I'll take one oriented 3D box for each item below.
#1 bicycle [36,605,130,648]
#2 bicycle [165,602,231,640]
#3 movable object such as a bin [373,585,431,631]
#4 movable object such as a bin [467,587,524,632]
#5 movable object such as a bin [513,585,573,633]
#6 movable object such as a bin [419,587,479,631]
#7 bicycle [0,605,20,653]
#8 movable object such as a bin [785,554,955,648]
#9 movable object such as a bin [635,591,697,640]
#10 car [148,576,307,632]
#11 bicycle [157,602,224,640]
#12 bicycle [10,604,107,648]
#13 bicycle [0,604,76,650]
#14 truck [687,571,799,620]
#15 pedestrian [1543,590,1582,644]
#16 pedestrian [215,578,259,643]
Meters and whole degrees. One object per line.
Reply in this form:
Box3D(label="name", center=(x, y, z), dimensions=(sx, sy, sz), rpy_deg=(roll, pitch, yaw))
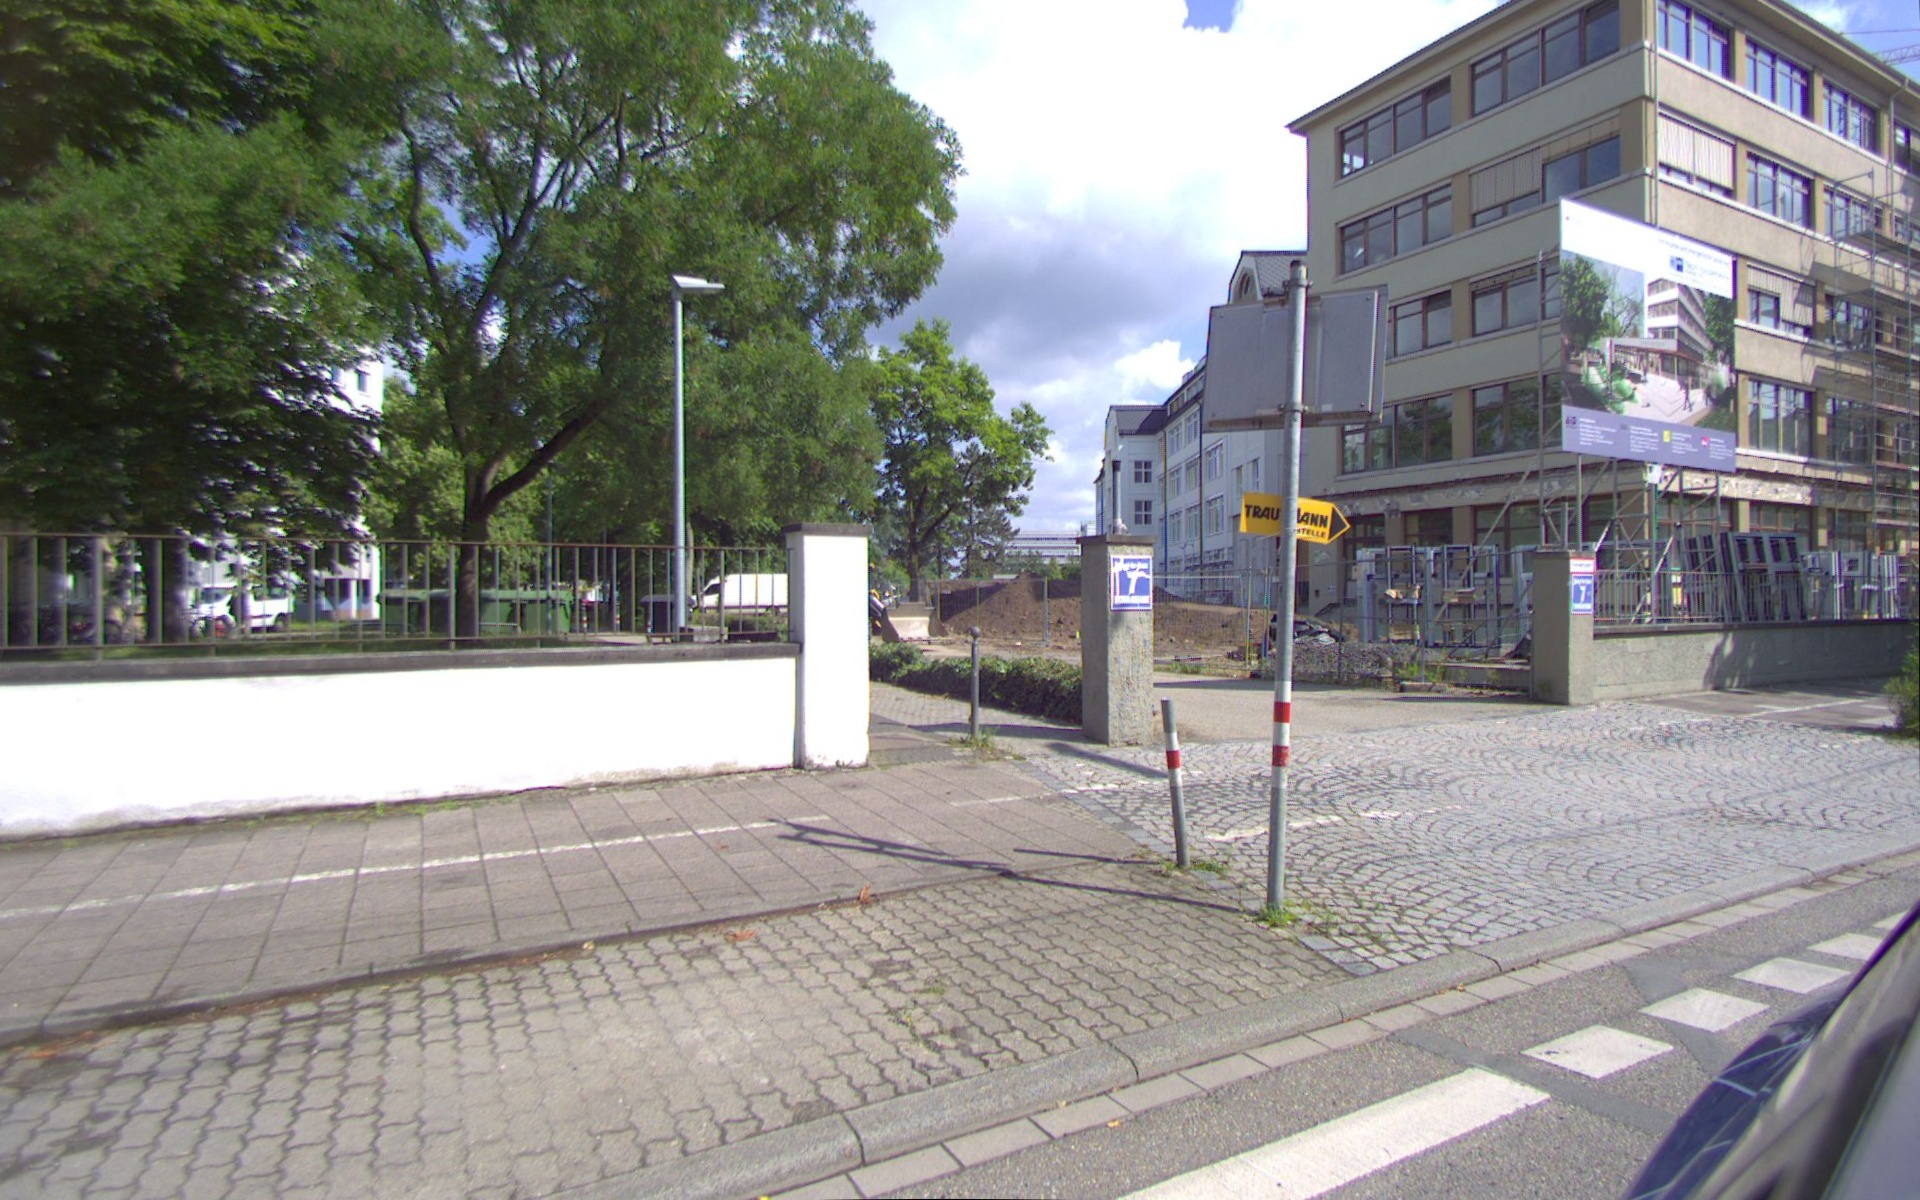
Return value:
Box3D(label="bicycle", center=(-20.757, 0.621, 23.963), dimensions=(1.785, 1.000, 0.427), rpy_deg=(1, -2, -2))
Box3D(label="bicycle", center=(-20.702, 0.564, 27.507), dimensions=(1.430, 1.000, 0.427), rpy_deg=(1, -2, -2))
Box3D(label="movable object such as a bin", center=(-16.170, 0.213, 29.362), dimensions=(1.167, 1.309, 1.004), rpy_deg=(0, 0, -4))
Box3D(label="movable object such as a bin", center=(-13.448, 0.269, 29.327), dimensions=(1.231, 1.281, 1.001), rpy_deg=(0, 0, -4))
Box3D(label="movable object such as a bin", center=(-12.092, 0.249, 29.388), dimensions=(1.340, 1.369, 1.095), rpy_deg=(0, 0, -2))
Box3D(label="movable object such as a bin", center=(-14.837, 0.255, 29.398), dimensions=(1.248, 1.235, 1.029), rpy_deg=(0, 0, -4))
Box3D(label="bicycle", center=(-20.651, 0.591, 21.035), dimensions=(1.785, 1.000, 0.427), rpy_deg=(1, -2, -2))
Box3D(label="movable object such as a bin", center=(-2.706, -0.032, 29.139), dimensions=(1.966, 2.474, 5.423), rpy_deg=(2, 0, -42))
Box3D(label="movable object such as a bin", center=(-8.399, 0.423, 28.974), dimensions=(1.306, 1.374, 1.124), rpy_deg=(1, 0, 18))
Box3D(label="car", center=(-27.200, 0.115, 37.847), dimensions=(2.002, 1.886, 5.088), rpy_deg=(2, 0, 3))
Box3D(label="bicycle", center=(-20.468, 0.558, 26.924), dimensions=(1.430, 1.000, 0.427), rpy_deg=(1, -2, 0))
Box3D(label="bicycle", center=(-20.700, 0.599, 23.243), dimensions=(1.785, 1.000, 0.427), rpy_deg=(1, -2, -2))
Box3D(label="bicycle", center=(-20.598, 0.593, 22.301), dimensions=(1.785, 1.000, 0.427), rpy_deg=(1, -2, -2))
Box3D(label="truck", center=(-12.886, -0.318, 60.094), dimensions=(6.420, 2.812, 2.005), rpy_deg=(0, 1, -15))
Box3D(label="pedestrian", center=(15.469, 0.431, 25.993), dimensions=(0.453, 1.329, 0.636), rpy_deg=(-3, -1, -13))
Box3D(label="pedestrian", center=(-18.536, 0.261, 25.970), dimensions=(0.558, 1.644, 0.859), rpy_deg=(0, 0, -5))
